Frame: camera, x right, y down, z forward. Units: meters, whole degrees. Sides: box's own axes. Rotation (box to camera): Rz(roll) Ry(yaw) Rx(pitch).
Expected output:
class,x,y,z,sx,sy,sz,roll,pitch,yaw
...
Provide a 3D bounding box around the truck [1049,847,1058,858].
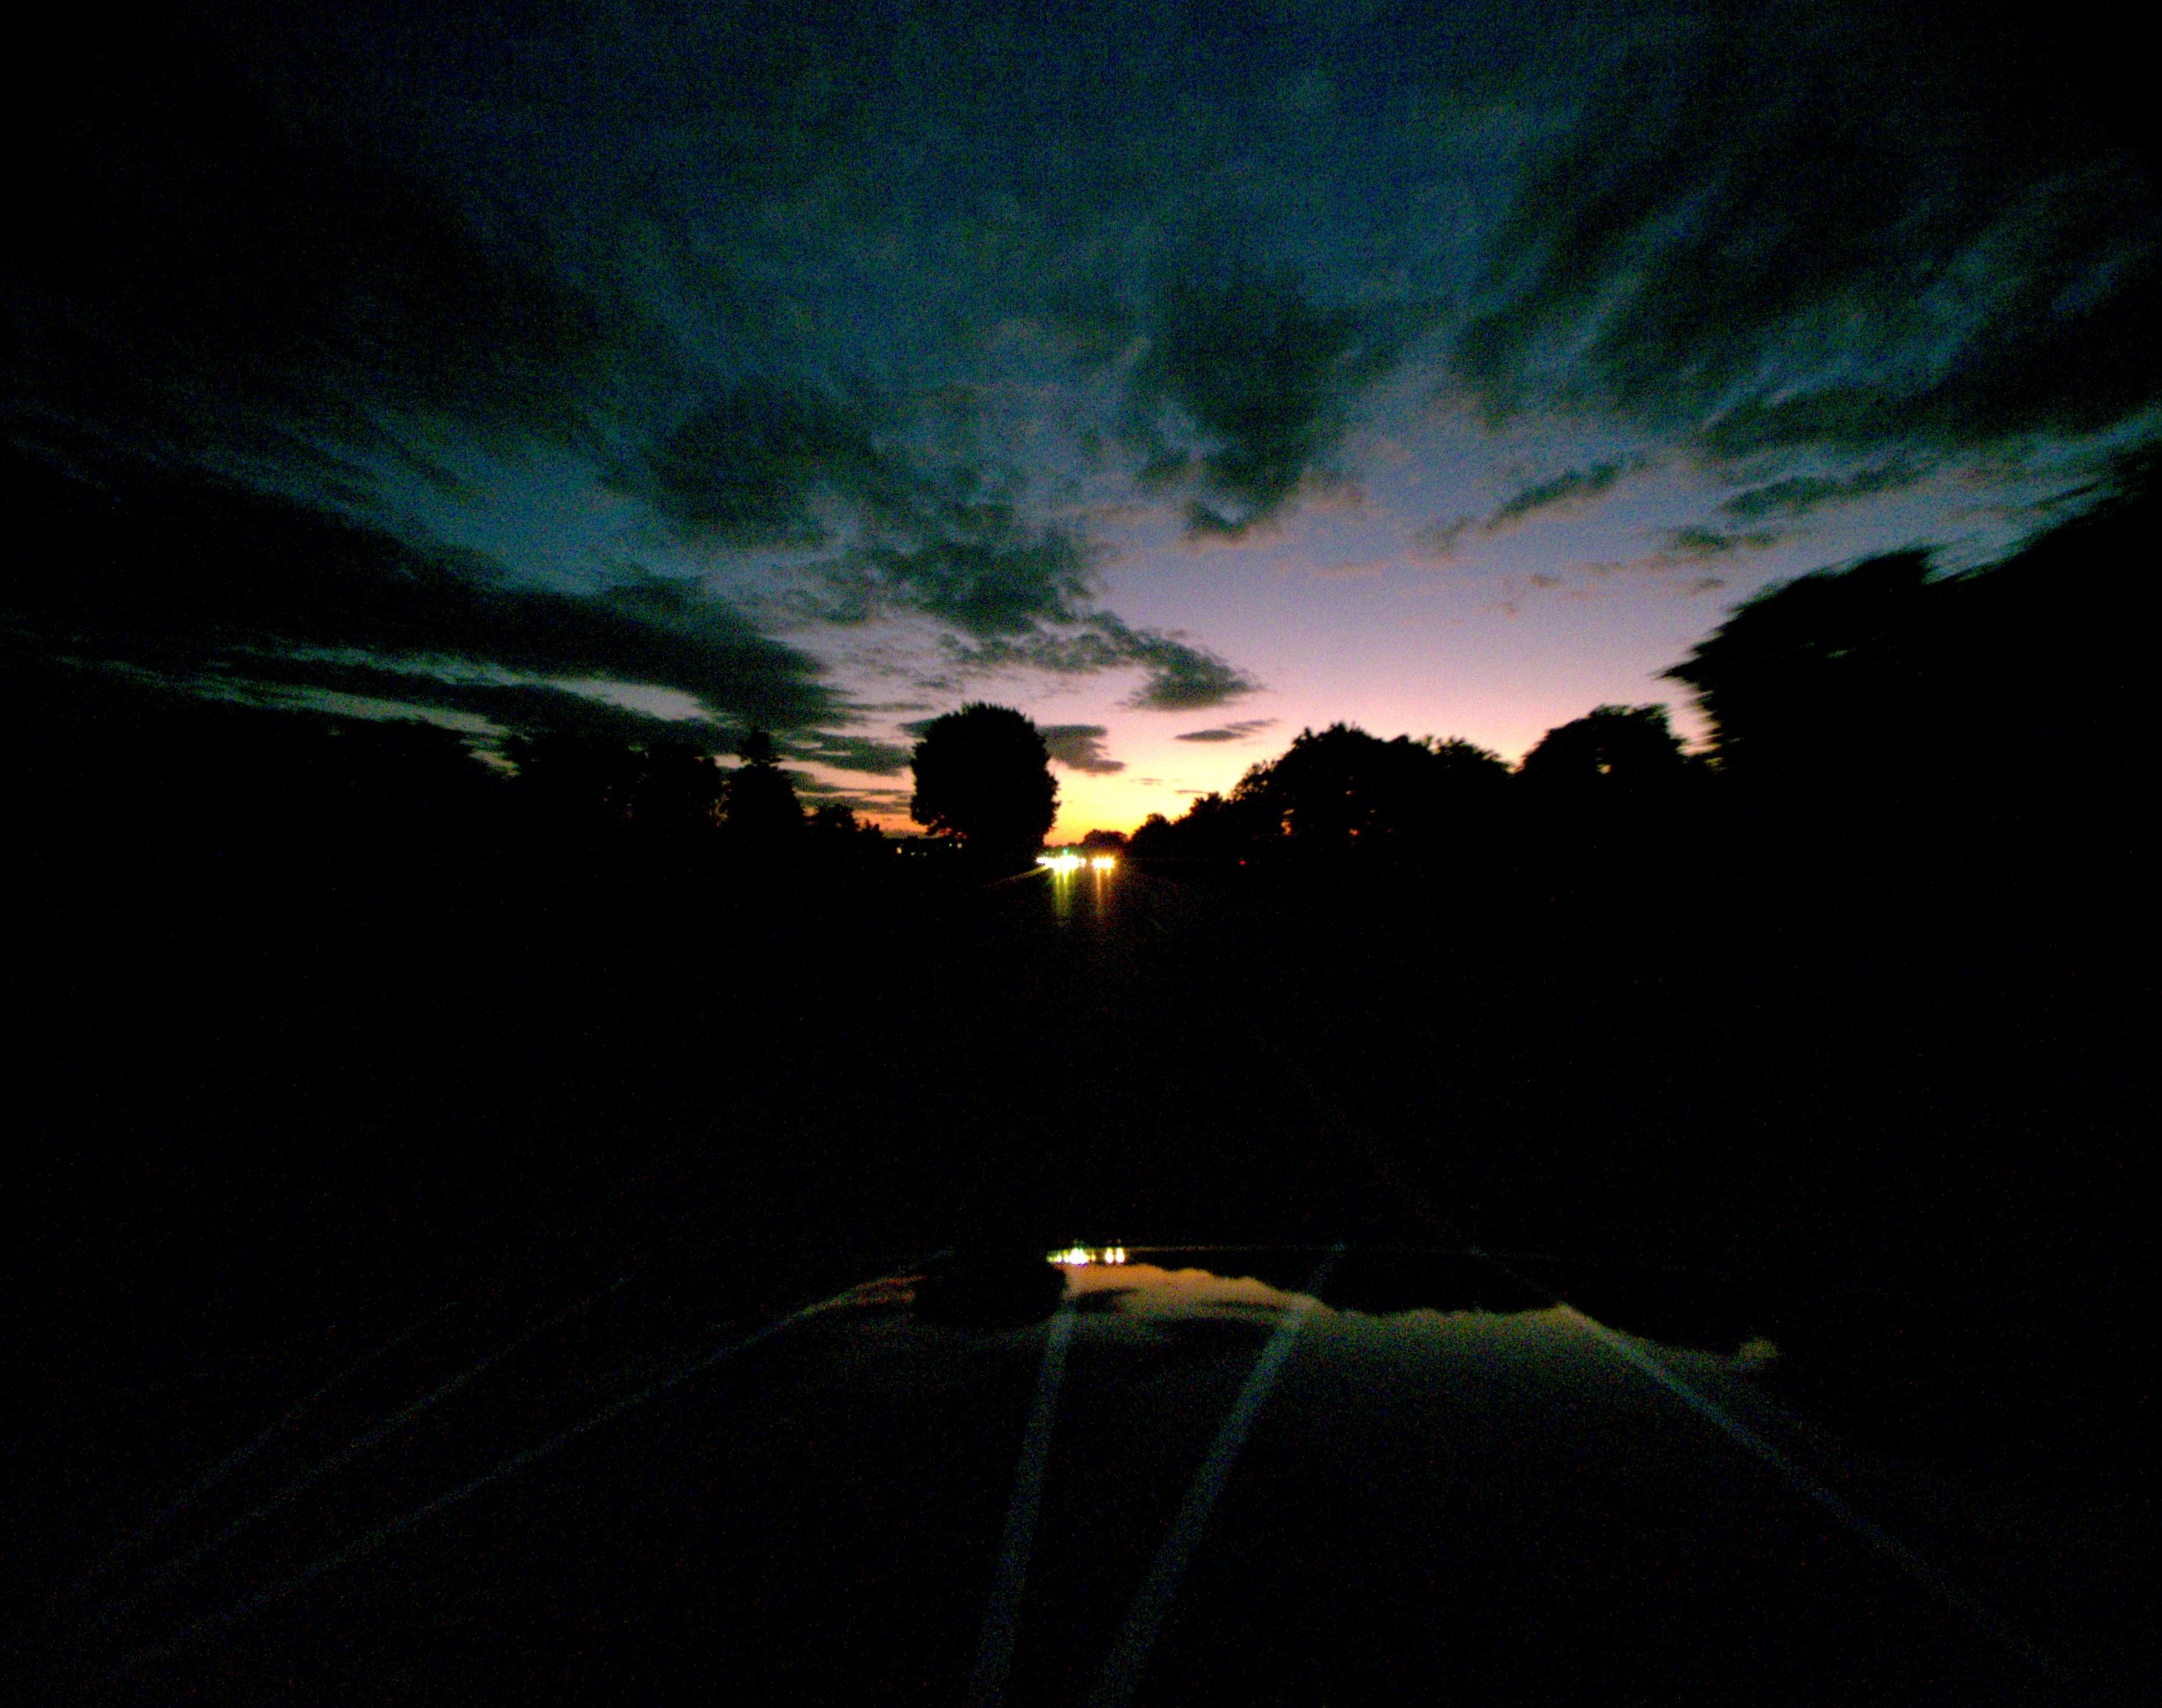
class,x,y,z,sx,sy,sz,roll,pitch,yaw
truck,-9.354,-0.513,259.337,3.016,3.674,9.056,-2,0,-2

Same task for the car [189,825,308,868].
class,x,y,z,sx,sy,sz,roll,pitch,yaw
car,-44.182,-0.400,40.504,2.001,2.139,4.574,1,0,-12

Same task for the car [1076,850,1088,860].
class,x,y,z,sx,sy,sz,roll,pitch,yaw
car,0.119,0.170,148.300,1.999,1.778,3.998,-2,0,-3

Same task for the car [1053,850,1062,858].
class,x,y,z,sx,sy,sz,roll,pitch,yaw
car,-5.808,0.059,187.755,1.999,2.002,3.999,-2,0,-2

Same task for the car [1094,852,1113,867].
class,x,y,z,sx,sy,sz,roll,pitch,yaw
car,2.470,0.609,84.617,1.998,1.635,4.296,-2,0,0

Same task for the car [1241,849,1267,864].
class,x,y,z,sx,sy,sz,roll,pitch,yaw
car,16.697,0.209,73.655,1.633,1.315,3.940,-2,0,1

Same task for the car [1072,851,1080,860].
class,x,y,z,sx,sy,sz,roll,pitch,yaw
car,-1.202,0.339,188.175,1.999,2.002,3.999,-2,0,0

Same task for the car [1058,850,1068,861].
class,x,y,z,sx,sy,sz,roll,pitch,yaw
car,-3.319,0.289,139.865,1.741,2.002,3.999,-2,0,-1
